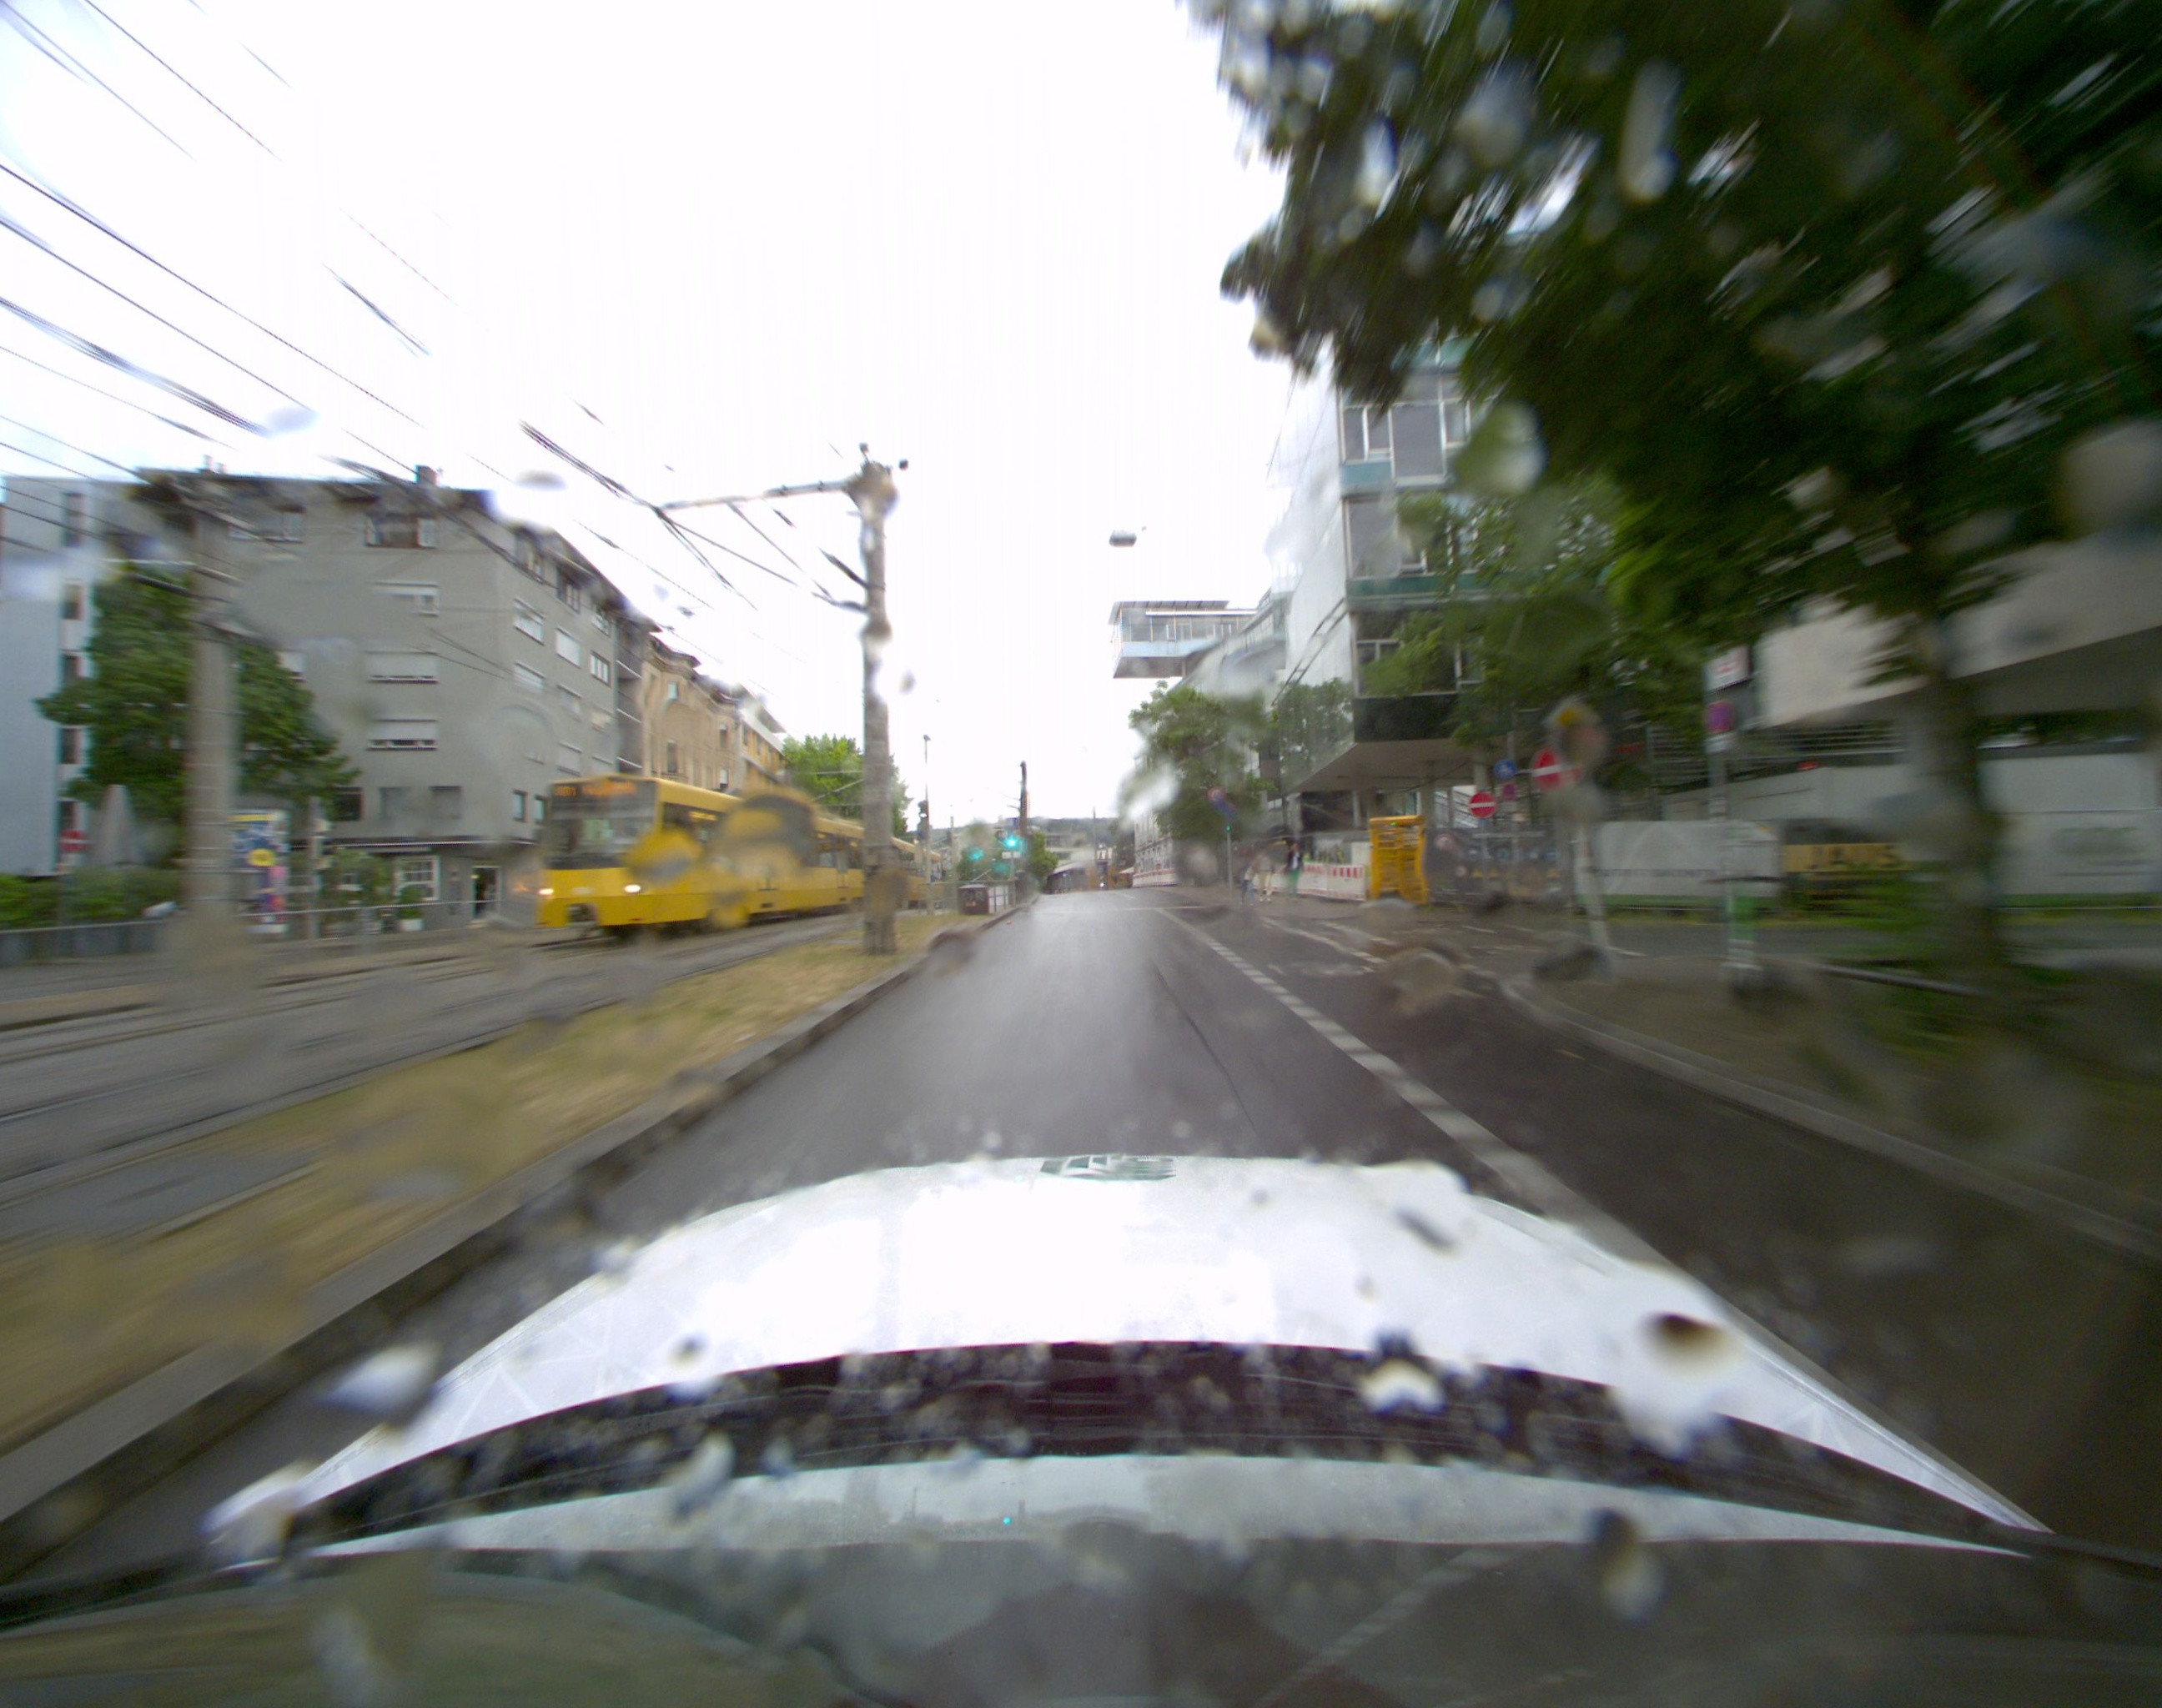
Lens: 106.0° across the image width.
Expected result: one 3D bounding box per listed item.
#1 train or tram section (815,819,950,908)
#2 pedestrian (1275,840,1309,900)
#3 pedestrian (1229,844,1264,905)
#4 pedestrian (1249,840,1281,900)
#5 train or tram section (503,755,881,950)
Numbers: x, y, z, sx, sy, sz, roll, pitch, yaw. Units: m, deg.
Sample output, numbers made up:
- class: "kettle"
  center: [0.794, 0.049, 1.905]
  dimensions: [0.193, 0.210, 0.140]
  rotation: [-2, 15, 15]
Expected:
- class: "train or tram section"
  center: [-10.022, 0.636, 44.267]
  dimensions: [2.738, 3.697, 18.961]
  rotation: [-2, -1, -1]
- class: "pedestrian"
  center: [6.505, 0.471, 25.149]
  dimensions: [0.698, 1.785, 1.066]
  rotation: [-2, 0, -2]
- class: "pedestrian"
  center: [4.901, 0.587, 24.166]
  dimensions: [0.735, 1.729, 1.117]
  rotation: [-2, 0, -2]
- class: "pedestrian"
  center: [5.730, 0.496, 25.439]
  dimensions: [0.698, 1.815, 0.976]
  rotation: [-2, 0, -2]
- class: "train or tram section"
  center: [-9.885, 0.181, 25.300]
  dimensions: [2.738, 3.697, 18.961]
  rotation: [-2, -1, -1]
